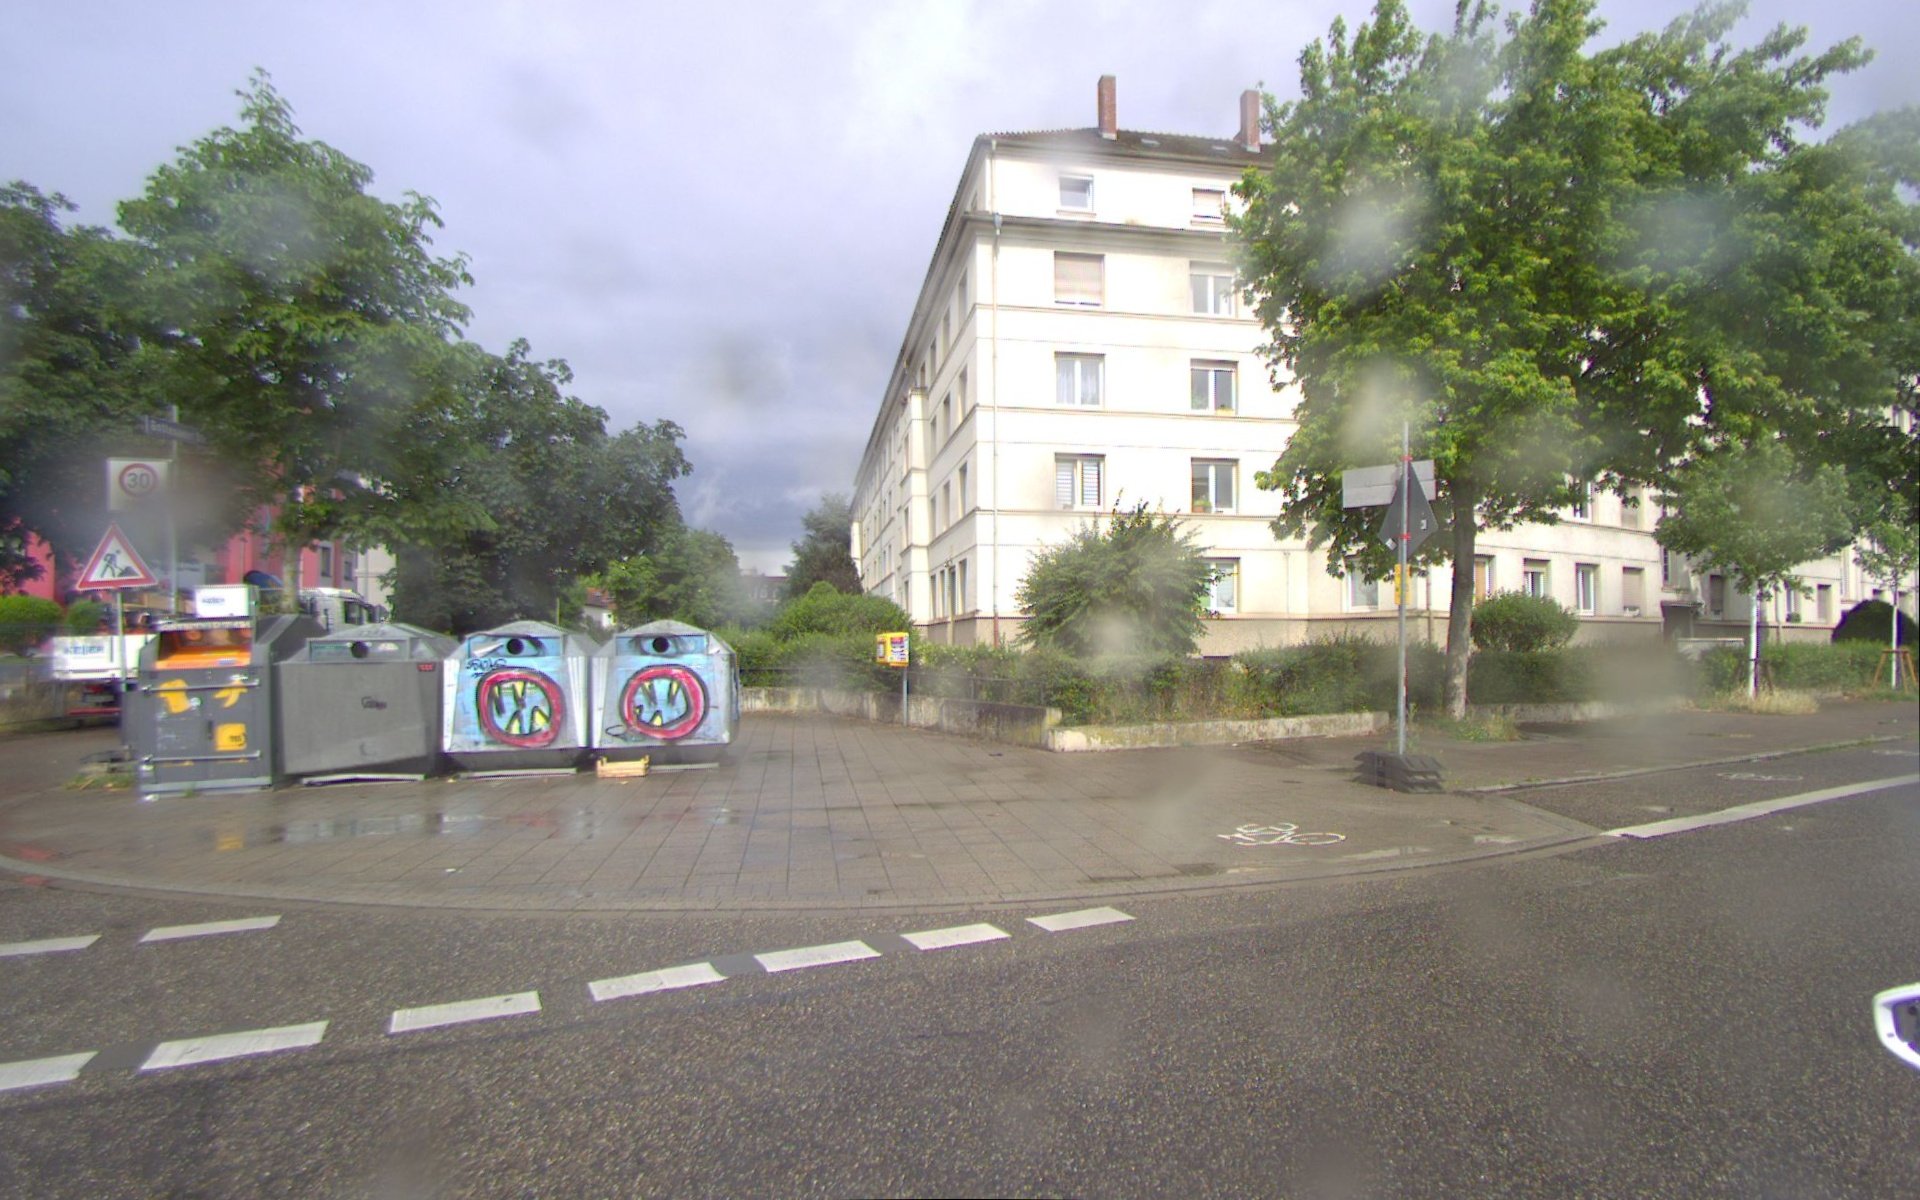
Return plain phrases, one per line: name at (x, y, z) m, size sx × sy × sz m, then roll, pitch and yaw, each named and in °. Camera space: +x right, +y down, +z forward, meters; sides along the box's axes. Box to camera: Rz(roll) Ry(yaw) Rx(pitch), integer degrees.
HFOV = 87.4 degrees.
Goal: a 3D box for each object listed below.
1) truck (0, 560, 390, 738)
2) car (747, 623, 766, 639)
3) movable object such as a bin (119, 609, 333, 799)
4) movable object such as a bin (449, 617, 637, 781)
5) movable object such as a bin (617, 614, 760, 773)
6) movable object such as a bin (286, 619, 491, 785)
truck at (-16.968, 1.191, 23.430) m, size 3.727 × 3.225 × 9.822 m, roll 1°, pitch -3°, yaw -14°
car at (-23.600, 3.608, 116.628) m, size 1.813 × 1.817 × 3.997 m, roll 0°, pitch -3°, yaw -7°
movable object such as a bin at (-7.740, 1.058, 10.728) m, size 1.240 × 1.848 × 1.541 m, roll 0°, pitch -3°, yaw -9°
movable object such as a bin at (-4.645, 1.076, 11.406) m, size 1.635 × 1.696 × 1.541 m, roll 0°, pitch -3°, yaw -9°
movable object such as a bin at (-3.099, 1.046, 11.675) m, size 1.432 × 1.683 × 1.541 m, roll 0°, pitch -3°, yaw -9°
movable object such as a bin at (-6.243, 1.083, 11.142) m, size 1.500 × 1.677 × 1.541 m, roll 0°, pitch -3°, yaw -9°
